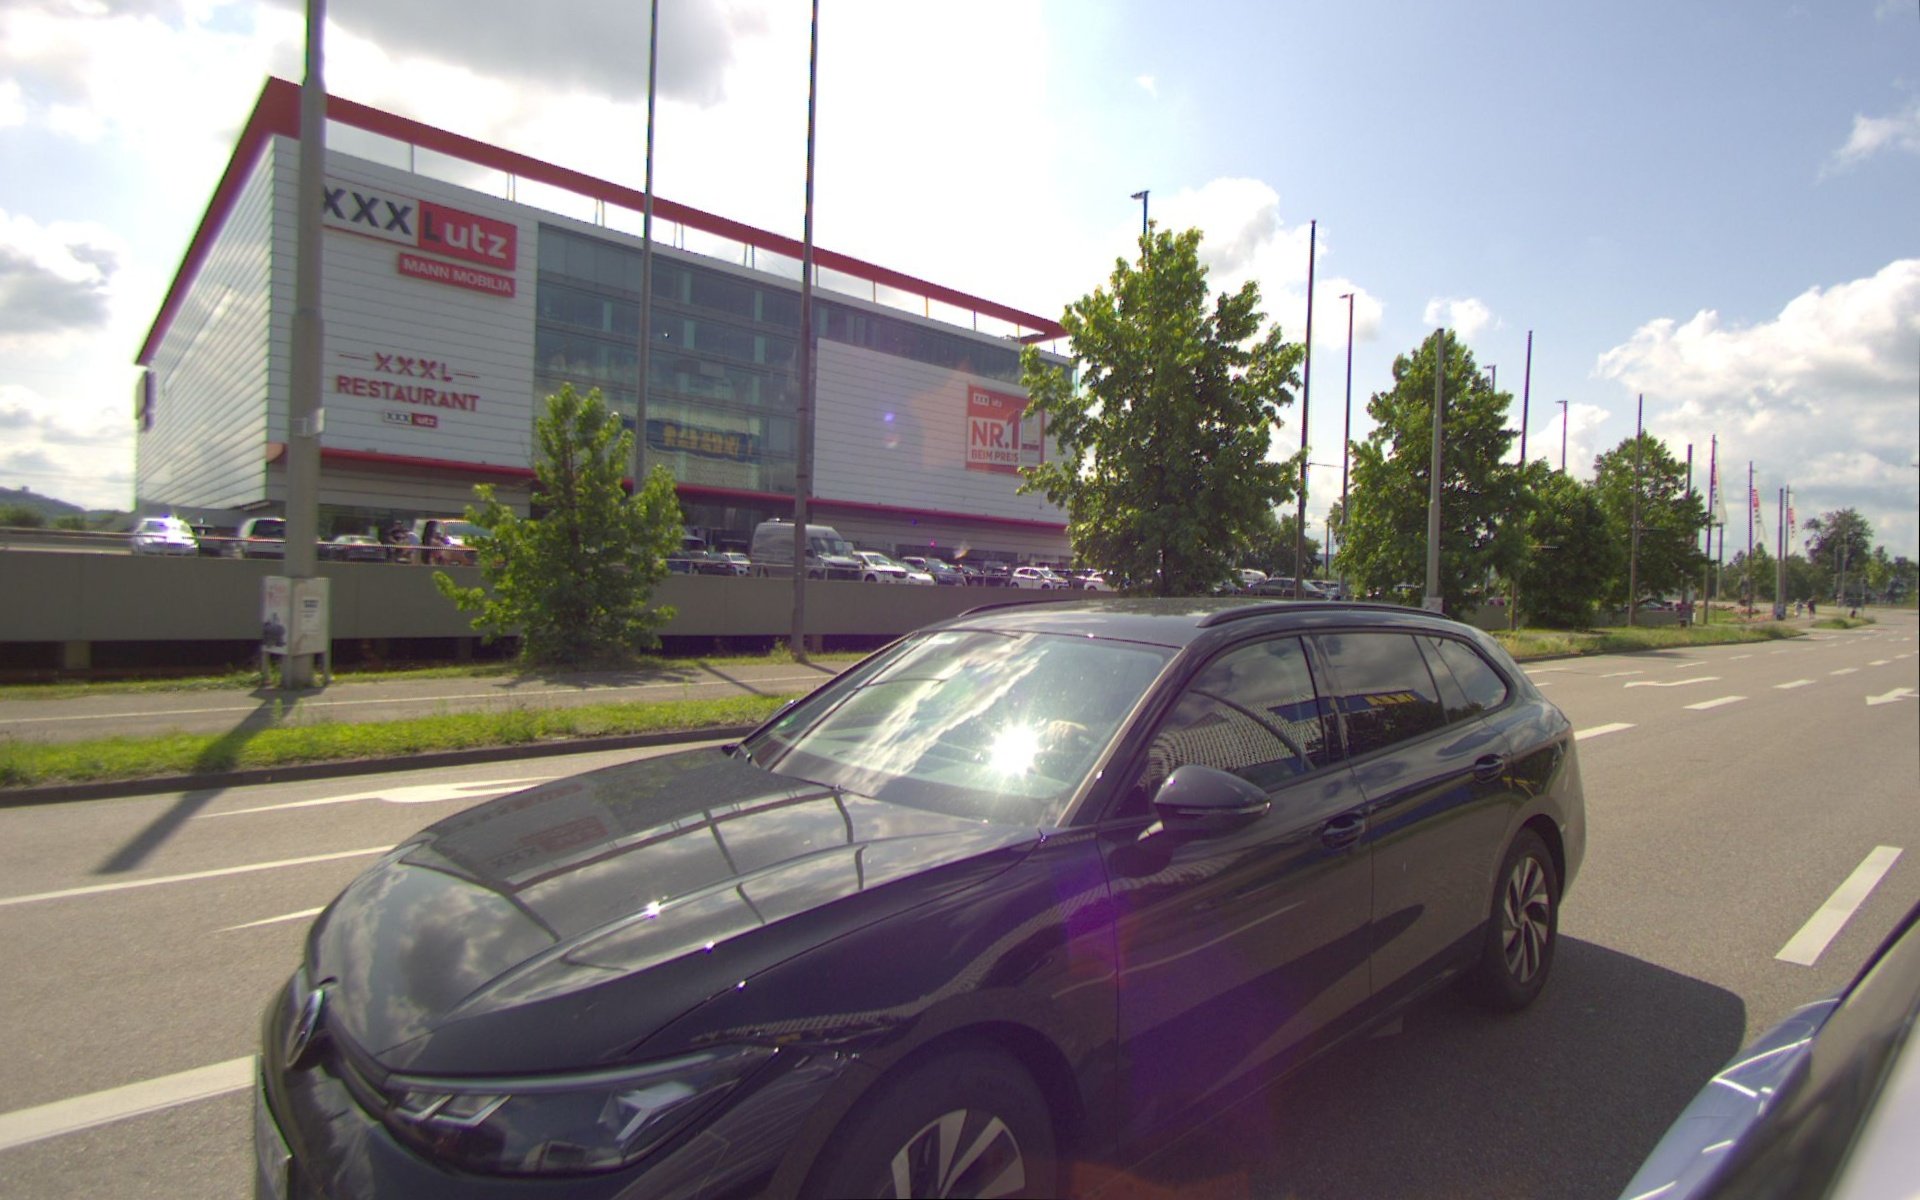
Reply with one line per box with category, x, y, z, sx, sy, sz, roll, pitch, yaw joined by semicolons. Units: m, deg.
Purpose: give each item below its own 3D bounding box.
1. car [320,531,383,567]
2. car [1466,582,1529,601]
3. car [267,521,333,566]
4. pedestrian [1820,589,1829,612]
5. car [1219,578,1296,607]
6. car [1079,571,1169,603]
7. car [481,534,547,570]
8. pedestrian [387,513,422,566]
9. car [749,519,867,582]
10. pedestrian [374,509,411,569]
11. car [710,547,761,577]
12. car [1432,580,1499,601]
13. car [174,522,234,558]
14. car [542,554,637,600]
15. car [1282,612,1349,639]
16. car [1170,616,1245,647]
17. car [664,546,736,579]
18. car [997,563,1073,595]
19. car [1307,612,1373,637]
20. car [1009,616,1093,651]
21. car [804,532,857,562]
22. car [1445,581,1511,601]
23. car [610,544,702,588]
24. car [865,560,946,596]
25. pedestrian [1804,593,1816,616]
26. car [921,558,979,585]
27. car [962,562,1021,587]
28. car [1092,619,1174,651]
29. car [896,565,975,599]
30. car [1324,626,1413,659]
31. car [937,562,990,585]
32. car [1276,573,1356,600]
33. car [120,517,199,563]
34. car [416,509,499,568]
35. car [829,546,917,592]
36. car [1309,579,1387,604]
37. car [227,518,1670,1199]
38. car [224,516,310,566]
car;-27.851;-2.280;46.283;1.534;1.489;4.412;0;1;-44
car;45.942;-0.720;86.601;1.921;1.625;4.416;0;1;-41
car;-29.129;-2.457;44.621;1.883;1.772;3.993;0;0;-41
pedestrian;68.923;0.010;80.710;0.524;1.836;0.668;0;0;39
car;17.071;-0.445;58.152;1.746;1.624;3.996;0;0;-39
car;8.494;-0.677;52.707;1.921;1.625;4.416;0;1;-41
car;-22.441;-2.370;50.877;1.920;1.625;4.418;0;1;-40
pedestrian;-18.936;-2.052;34.514;1.014;1.764;0.698;0;0;36
car;-6.183;-1.889;40.572;1.720;2.312;5.784;0;0;-44
pedestrian;-19.698;-2.120;35.121;0.895;2.039;0.706;0;0;4
car;-13.271;-2.197;59.659;1.915;1.625;4.430;0;1;-27
car;40.380;-0.781;80.953;1.921;1.625;4.416;0;1;-41
car;-38.067;-2.974;50.907;1.922;1.625;4.412;0;1;-44
car;-14.114;-0.844;38.433;1.921;1.625;4.416;0;1;-41
car;25.595;1.793;72.957;1.534;1.786;4.412;0;0;-44
car;15.413;1.940;63.145;1.534;1.786;4.412;0;0;-44
car;-13.534;-1.913;52.530;1.920;1.625;4.418;0;1;-40
car;4.249;-1.164;57.789;1.534;1.786;4.412;0;0;-44
car;28.353;1.796;75.640;1.534;1.786;4.412;0;0;-44
car;4.763;1.706;53.391;1.919;1.625;4.420;0;1;-38
car;-8.159;-3.282;63.238;1.915;1.625;4.430;0;1;-27
car;42.695;-0.746;83.486;1.921;1.625;4.416;0;1;-41
car;-12.156;-1.312;40.290;1.920;1.625;4.418;0;1;-40
car;-2.643;-1.035;48.405;1.917;1.625;4.425;0;1;-33
pedestrian;68.257;0.353;81.287;0.700;1.836;0.538;0;0;37
car;-0.671;-1.801;64.098;1.915;1.625;4.430;0;1;-27
car;2.097;-1.692;67.686;1.916;1.625;4.428;0;1;-30
car;9.963;2.007;58.491;1.922;1.625;4.414;0;1;-43
car;-1.262;-0.873;50.689;1.917;1.625;4.425;0;1;-33
car;23.604;2.413;58.567;1.921;1.625;4.416;0;1;-41
car;0.211;-1.894;73.274;1.916;1.625;4.428;0;1;-30
car;22.379;-0.856;63.784;1.921;1.625;4.416;0;1;-41
car;-29.930;-2.192;37.789;1.922;1.489;4.412;0;1;-44
car;-17.247;-2.038;34.642;1.881;1.772;4.187;0;0;-36
car;-3.671;-1.245;42.131;1.718;1.816;3.995;0;0;-40
car;25.680;-0.566;67.095;1.921;1.625;4.416;0;1;-41
car;0.680;0.641;3.535;5.114;1.496;1.811;0;1;-42
car;-25.514;-2.111;37.199;1.922;1.625;4.412;0;1;-44
